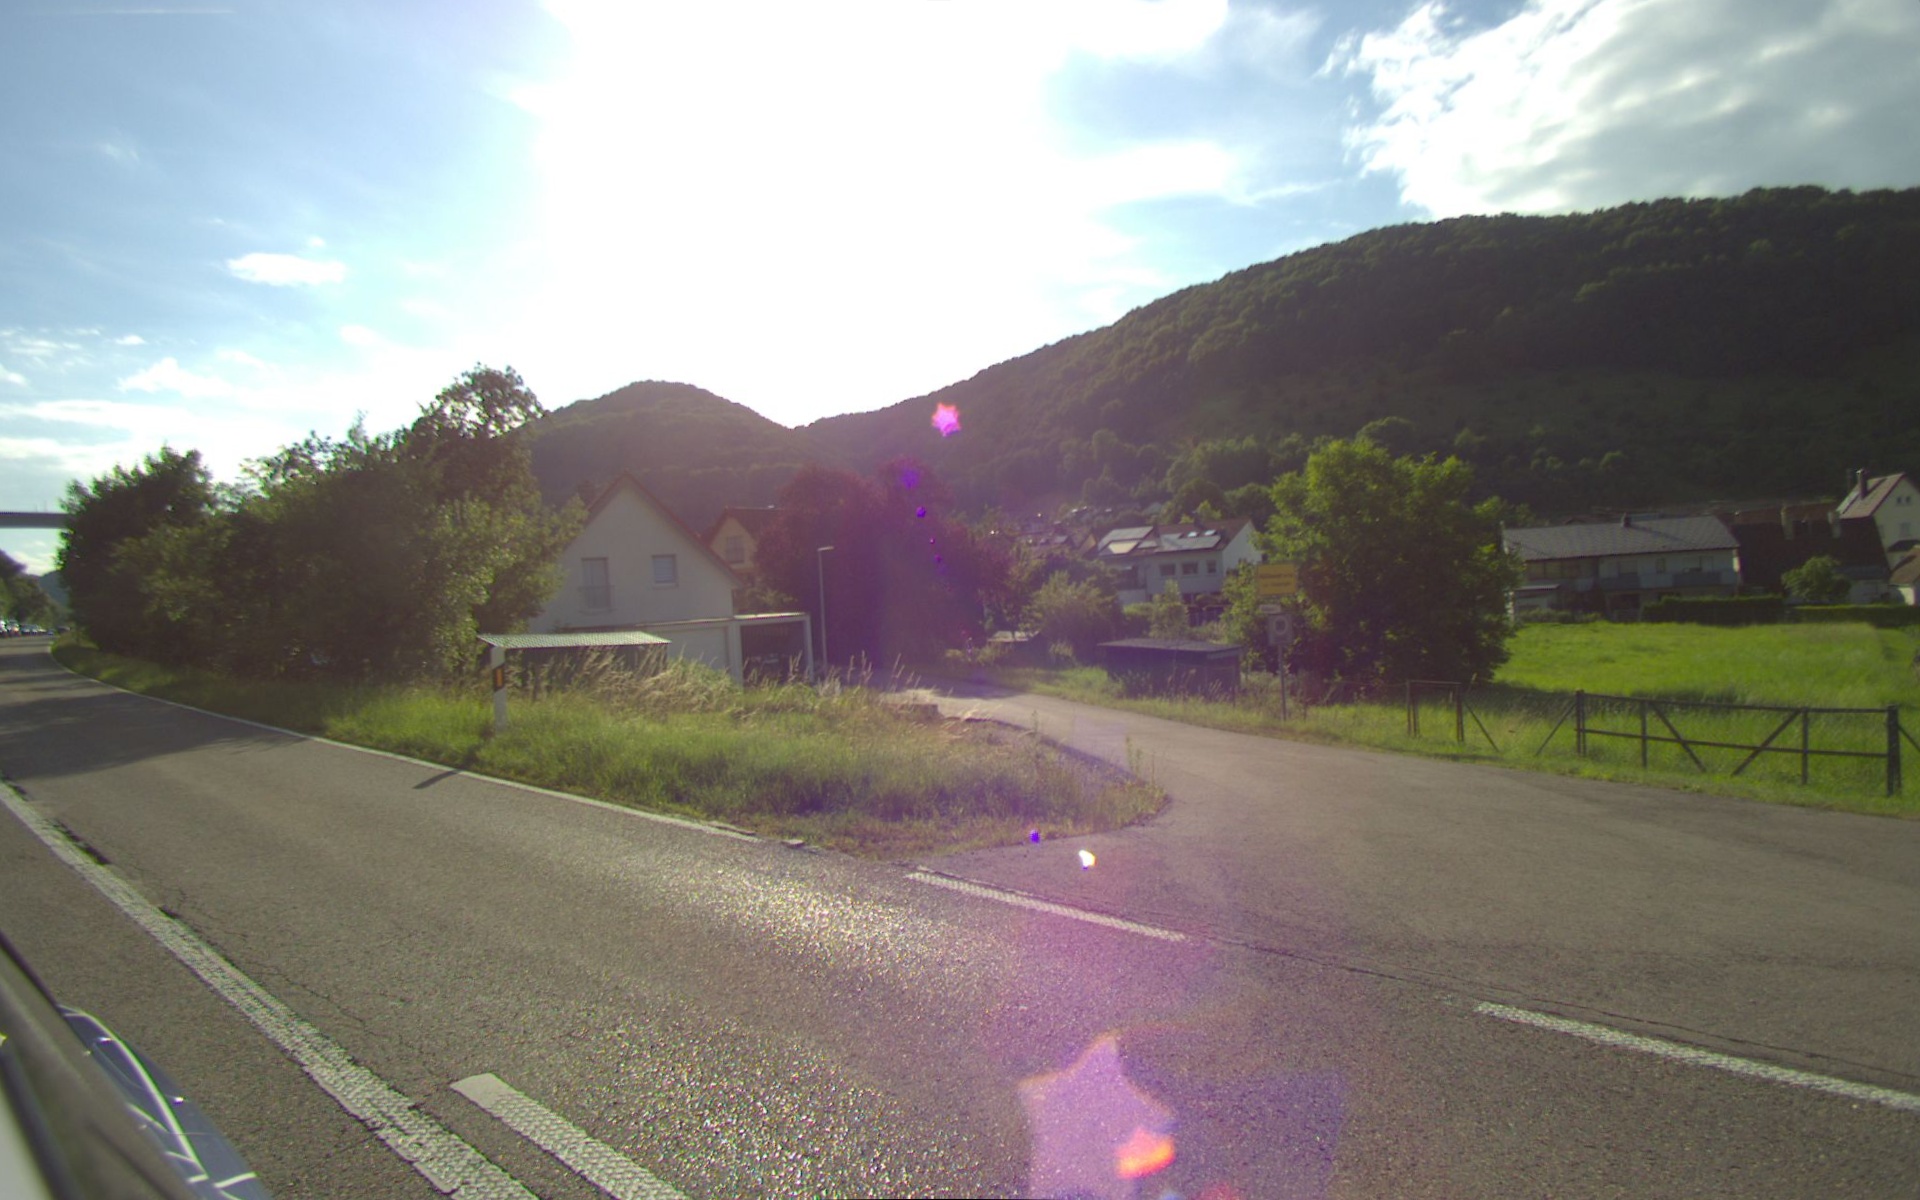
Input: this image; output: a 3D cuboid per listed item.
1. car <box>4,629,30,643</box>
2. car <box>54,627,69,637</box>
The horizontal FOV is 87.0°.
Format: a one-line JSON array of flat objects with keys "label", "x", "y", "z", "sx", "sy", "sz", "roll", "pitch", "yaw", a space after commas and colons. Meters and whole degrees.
[{"label": "car", "x": -112.808, "y": 4.289, "z": 121.136, "sx": 1.813, "sy": 1.564, "sz": 4.186, "roll": 1, "pitch": -2, "yaw": -37}, {"label": "car", "x": -151.204, "y": 5.442, "z": 170.357, "sx": 1.792, "sy": 1.630, "sz": 3.809, "roll": 1, "pitch": -2, "yaw": -43}]
